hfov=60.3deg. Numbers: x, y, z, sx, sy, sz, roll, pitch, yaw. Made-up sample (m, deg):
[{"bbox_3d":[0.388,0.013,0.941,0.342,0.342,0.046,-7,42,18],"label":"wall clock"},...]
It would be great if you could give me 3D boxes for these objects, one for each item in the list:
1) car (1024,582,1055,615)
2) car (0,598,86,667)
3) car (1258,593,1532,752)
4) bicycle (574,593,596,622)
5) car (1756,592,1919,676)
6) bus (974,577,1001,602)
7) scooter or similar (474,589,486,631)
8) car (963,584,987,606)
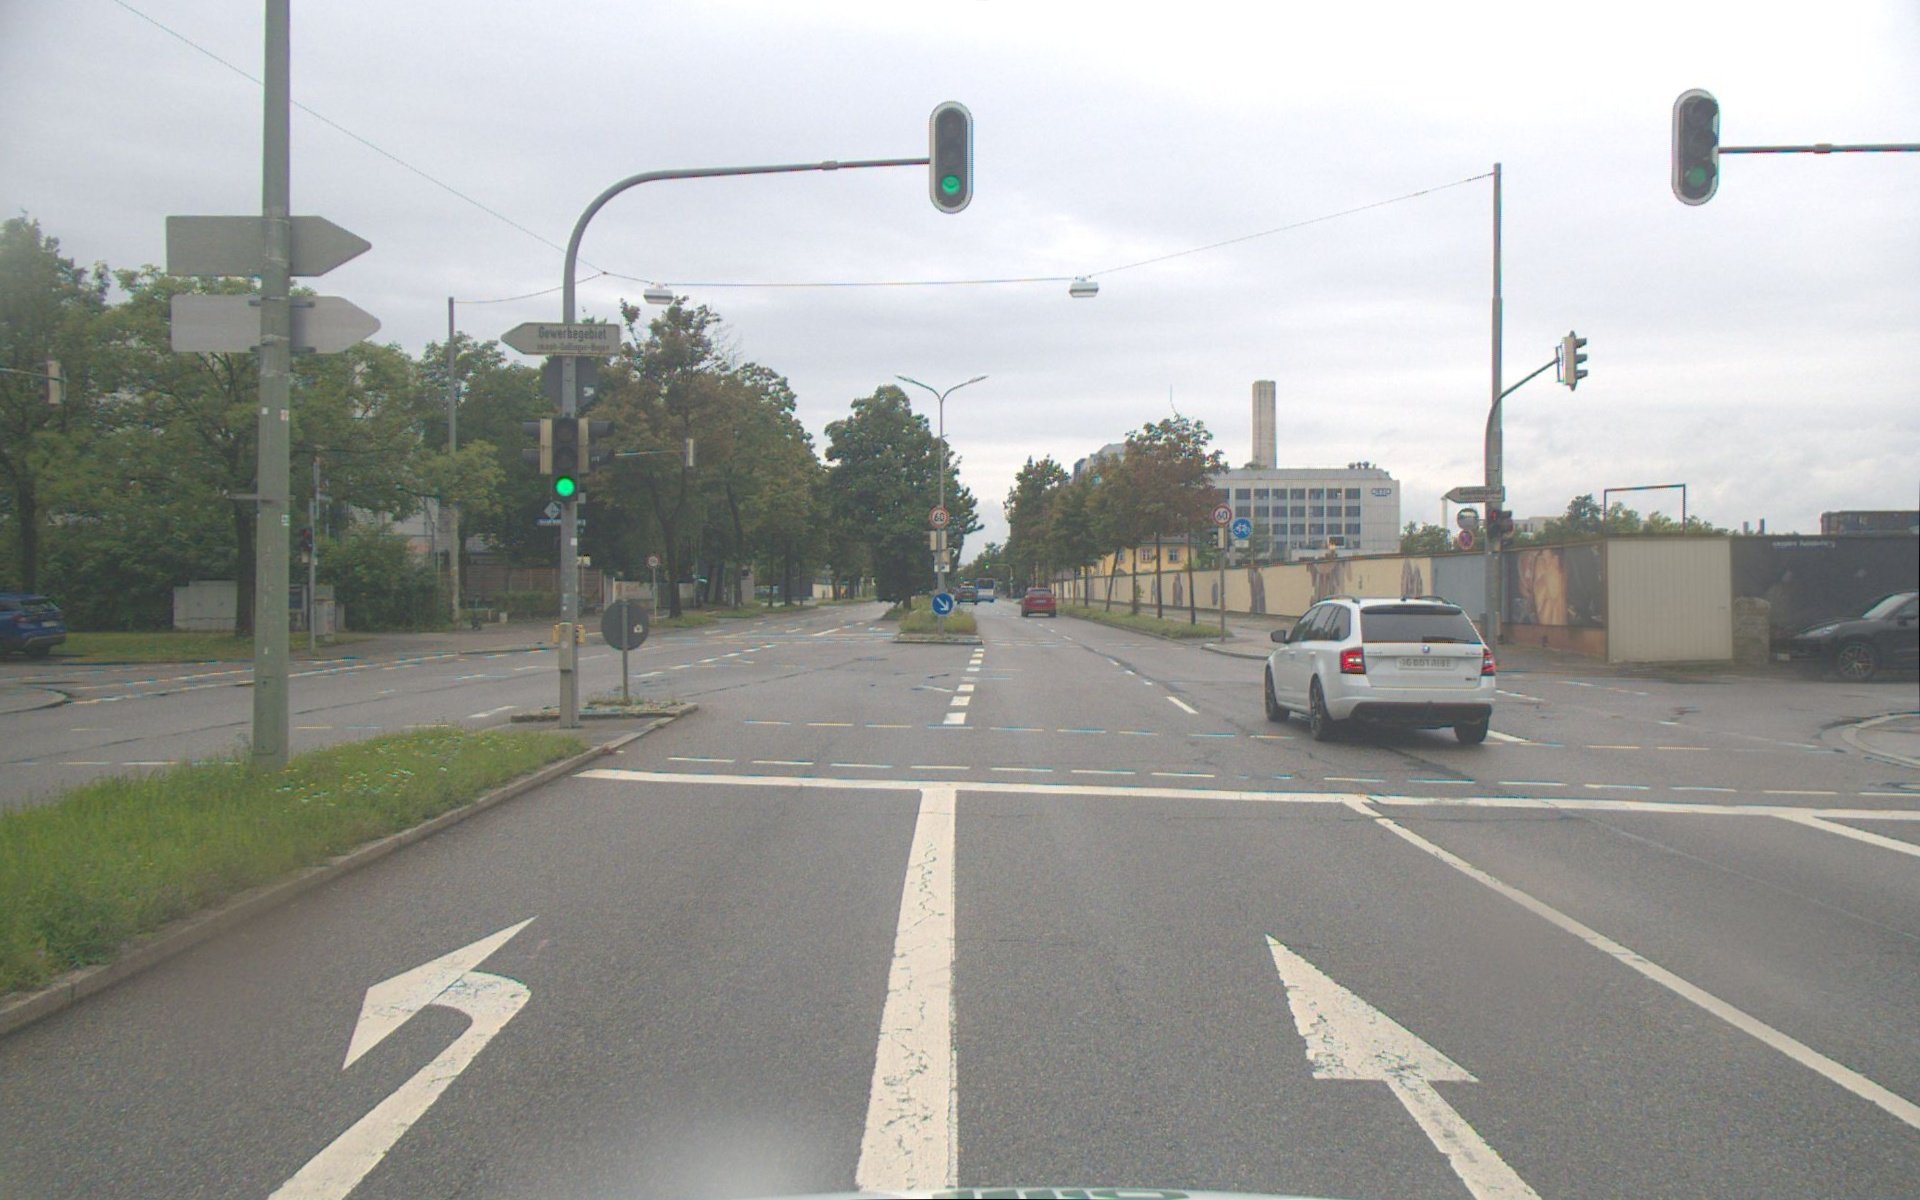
[{"bbox_3d":[4.394,-0.089,92.077,1.454,1.745,3.550,1,0,-2],"label":"car"},{"bbox_3d":[-24.559,0.823,41.561,4.177,1.602,2.002,-1,2,8],"label":"car"},{"bbox_3d":[4.571,0.686,18.090,1.839,1.493,4.502,1,0,1],"label":"car"},{"bbox_3d":[-17.638,0.357,77.890,0.570,1.318,2.453,1,0,-3],"label":"bicycle"},{"bbox_3d":[17.203,0.598,30.404,4.162,1.453,2.001,-1,0,2],"label":"car"},{"bbox_3d":[3.678,-1.405,221.481,3.155,3.181,10.342,1,0,-1],"label":"bus"},{"bbox_3d":[-16.991,0.342,58.540,0.364,1.449,1.400,1,0,-15],"label":"scooter or similar"},{"bbox_3d":[1.381,-0.482,150.923,2.042,1.898,4.385,1,0,-2],"label":"car"}]
